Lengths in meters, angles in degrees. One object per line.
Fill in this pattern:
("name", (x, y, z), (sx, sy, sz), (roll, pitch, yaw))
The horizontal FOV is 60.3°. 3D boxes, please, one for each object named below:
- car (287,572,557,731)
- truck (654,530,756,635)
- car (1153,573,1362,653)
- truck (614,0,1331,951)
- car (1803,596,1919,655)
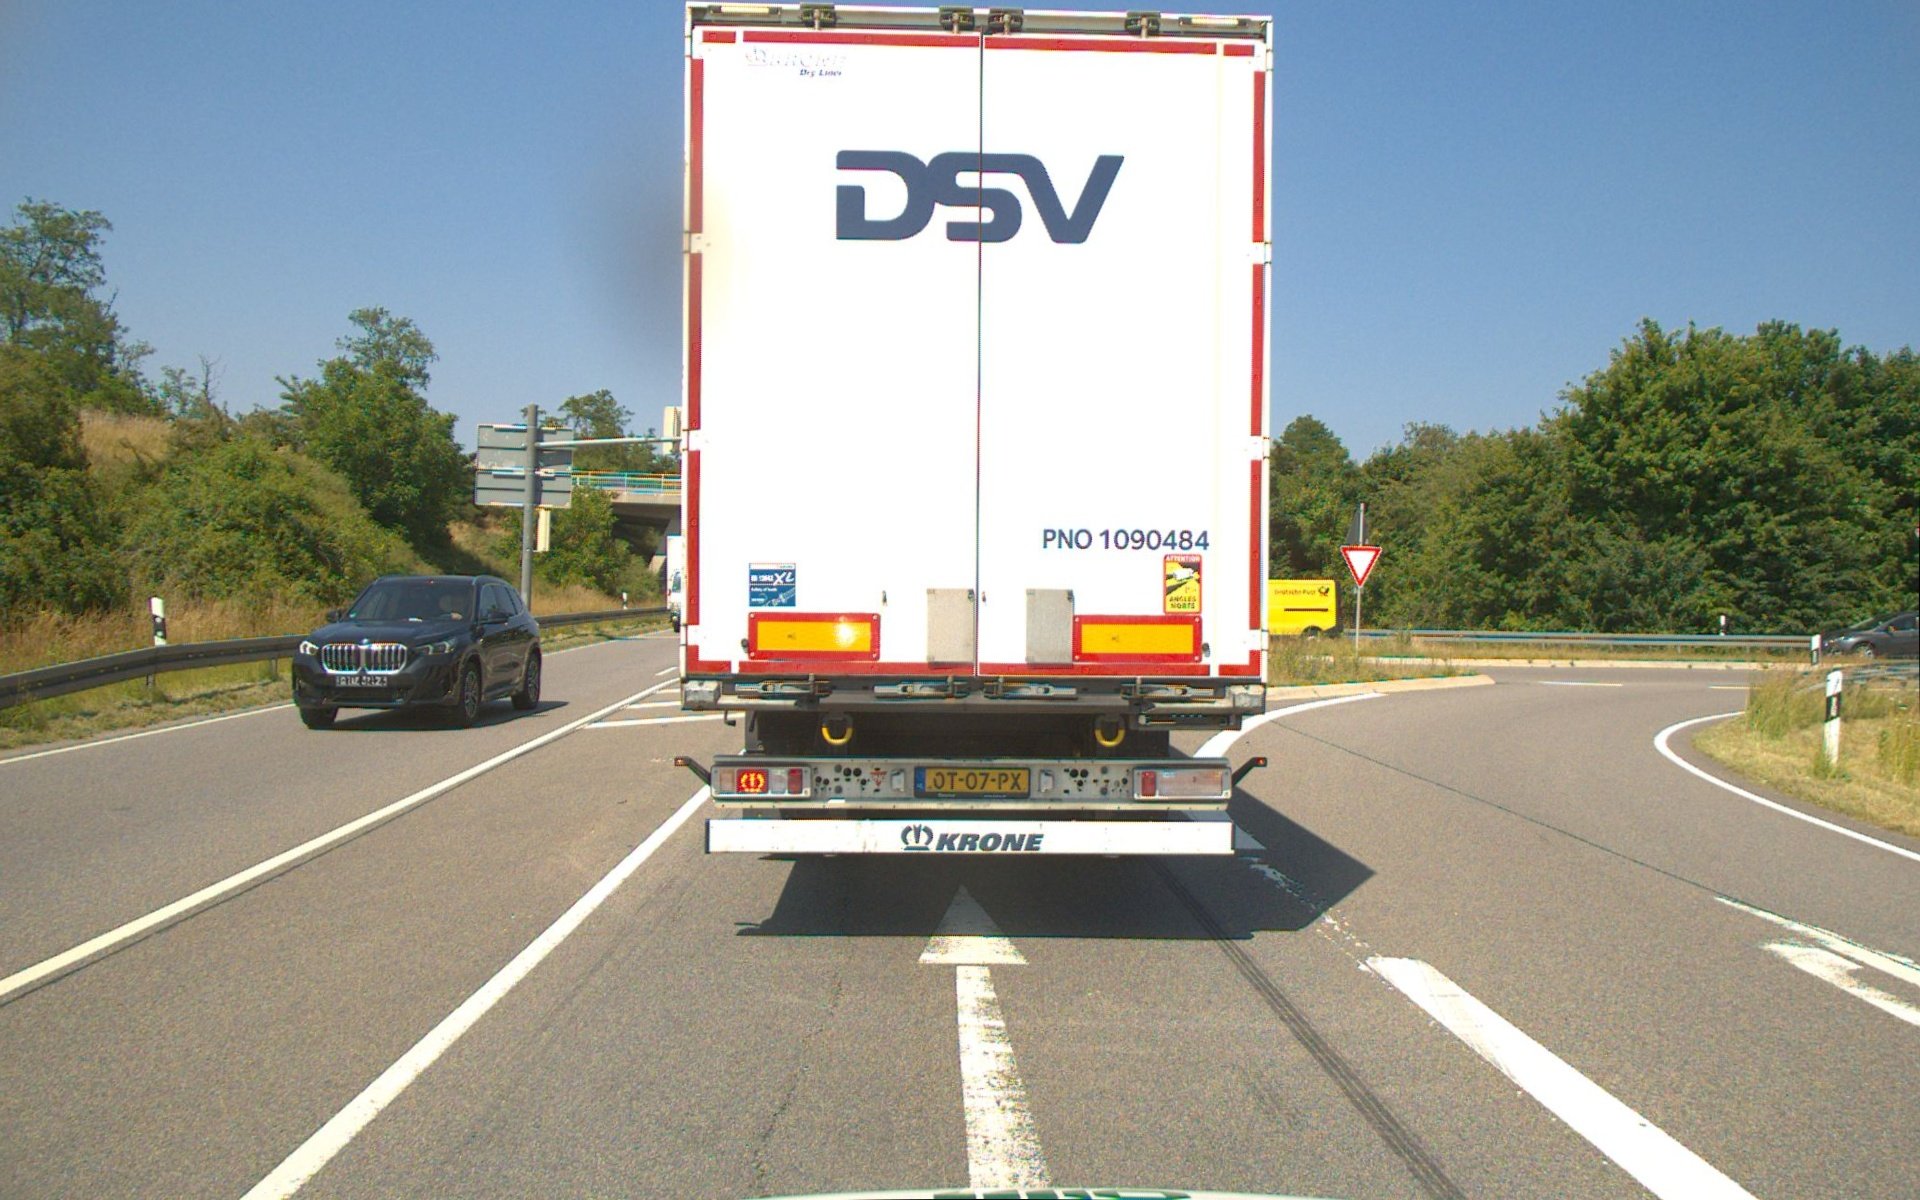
("car", (-6.092, 0.525, 19.295), (1.726, 1.626, 4.500), (0, 0, -1))
("truck", (-9.278, -0.568, 60.905), (2.591, 3.600, 7.888), (1, 0, -1))
("car", (7.950, 0.346, 44.521), (5.217, 2.049, 1.998), (1, -1, -4))
("truck", (-0.052, -0.560, 11.784), (2.927, 4.011, 9.872), (1, 0, -1))
("car", (25.449, 0.688, 44.500), (4.585, 1.540, 1.853), (1, -1, 1))
